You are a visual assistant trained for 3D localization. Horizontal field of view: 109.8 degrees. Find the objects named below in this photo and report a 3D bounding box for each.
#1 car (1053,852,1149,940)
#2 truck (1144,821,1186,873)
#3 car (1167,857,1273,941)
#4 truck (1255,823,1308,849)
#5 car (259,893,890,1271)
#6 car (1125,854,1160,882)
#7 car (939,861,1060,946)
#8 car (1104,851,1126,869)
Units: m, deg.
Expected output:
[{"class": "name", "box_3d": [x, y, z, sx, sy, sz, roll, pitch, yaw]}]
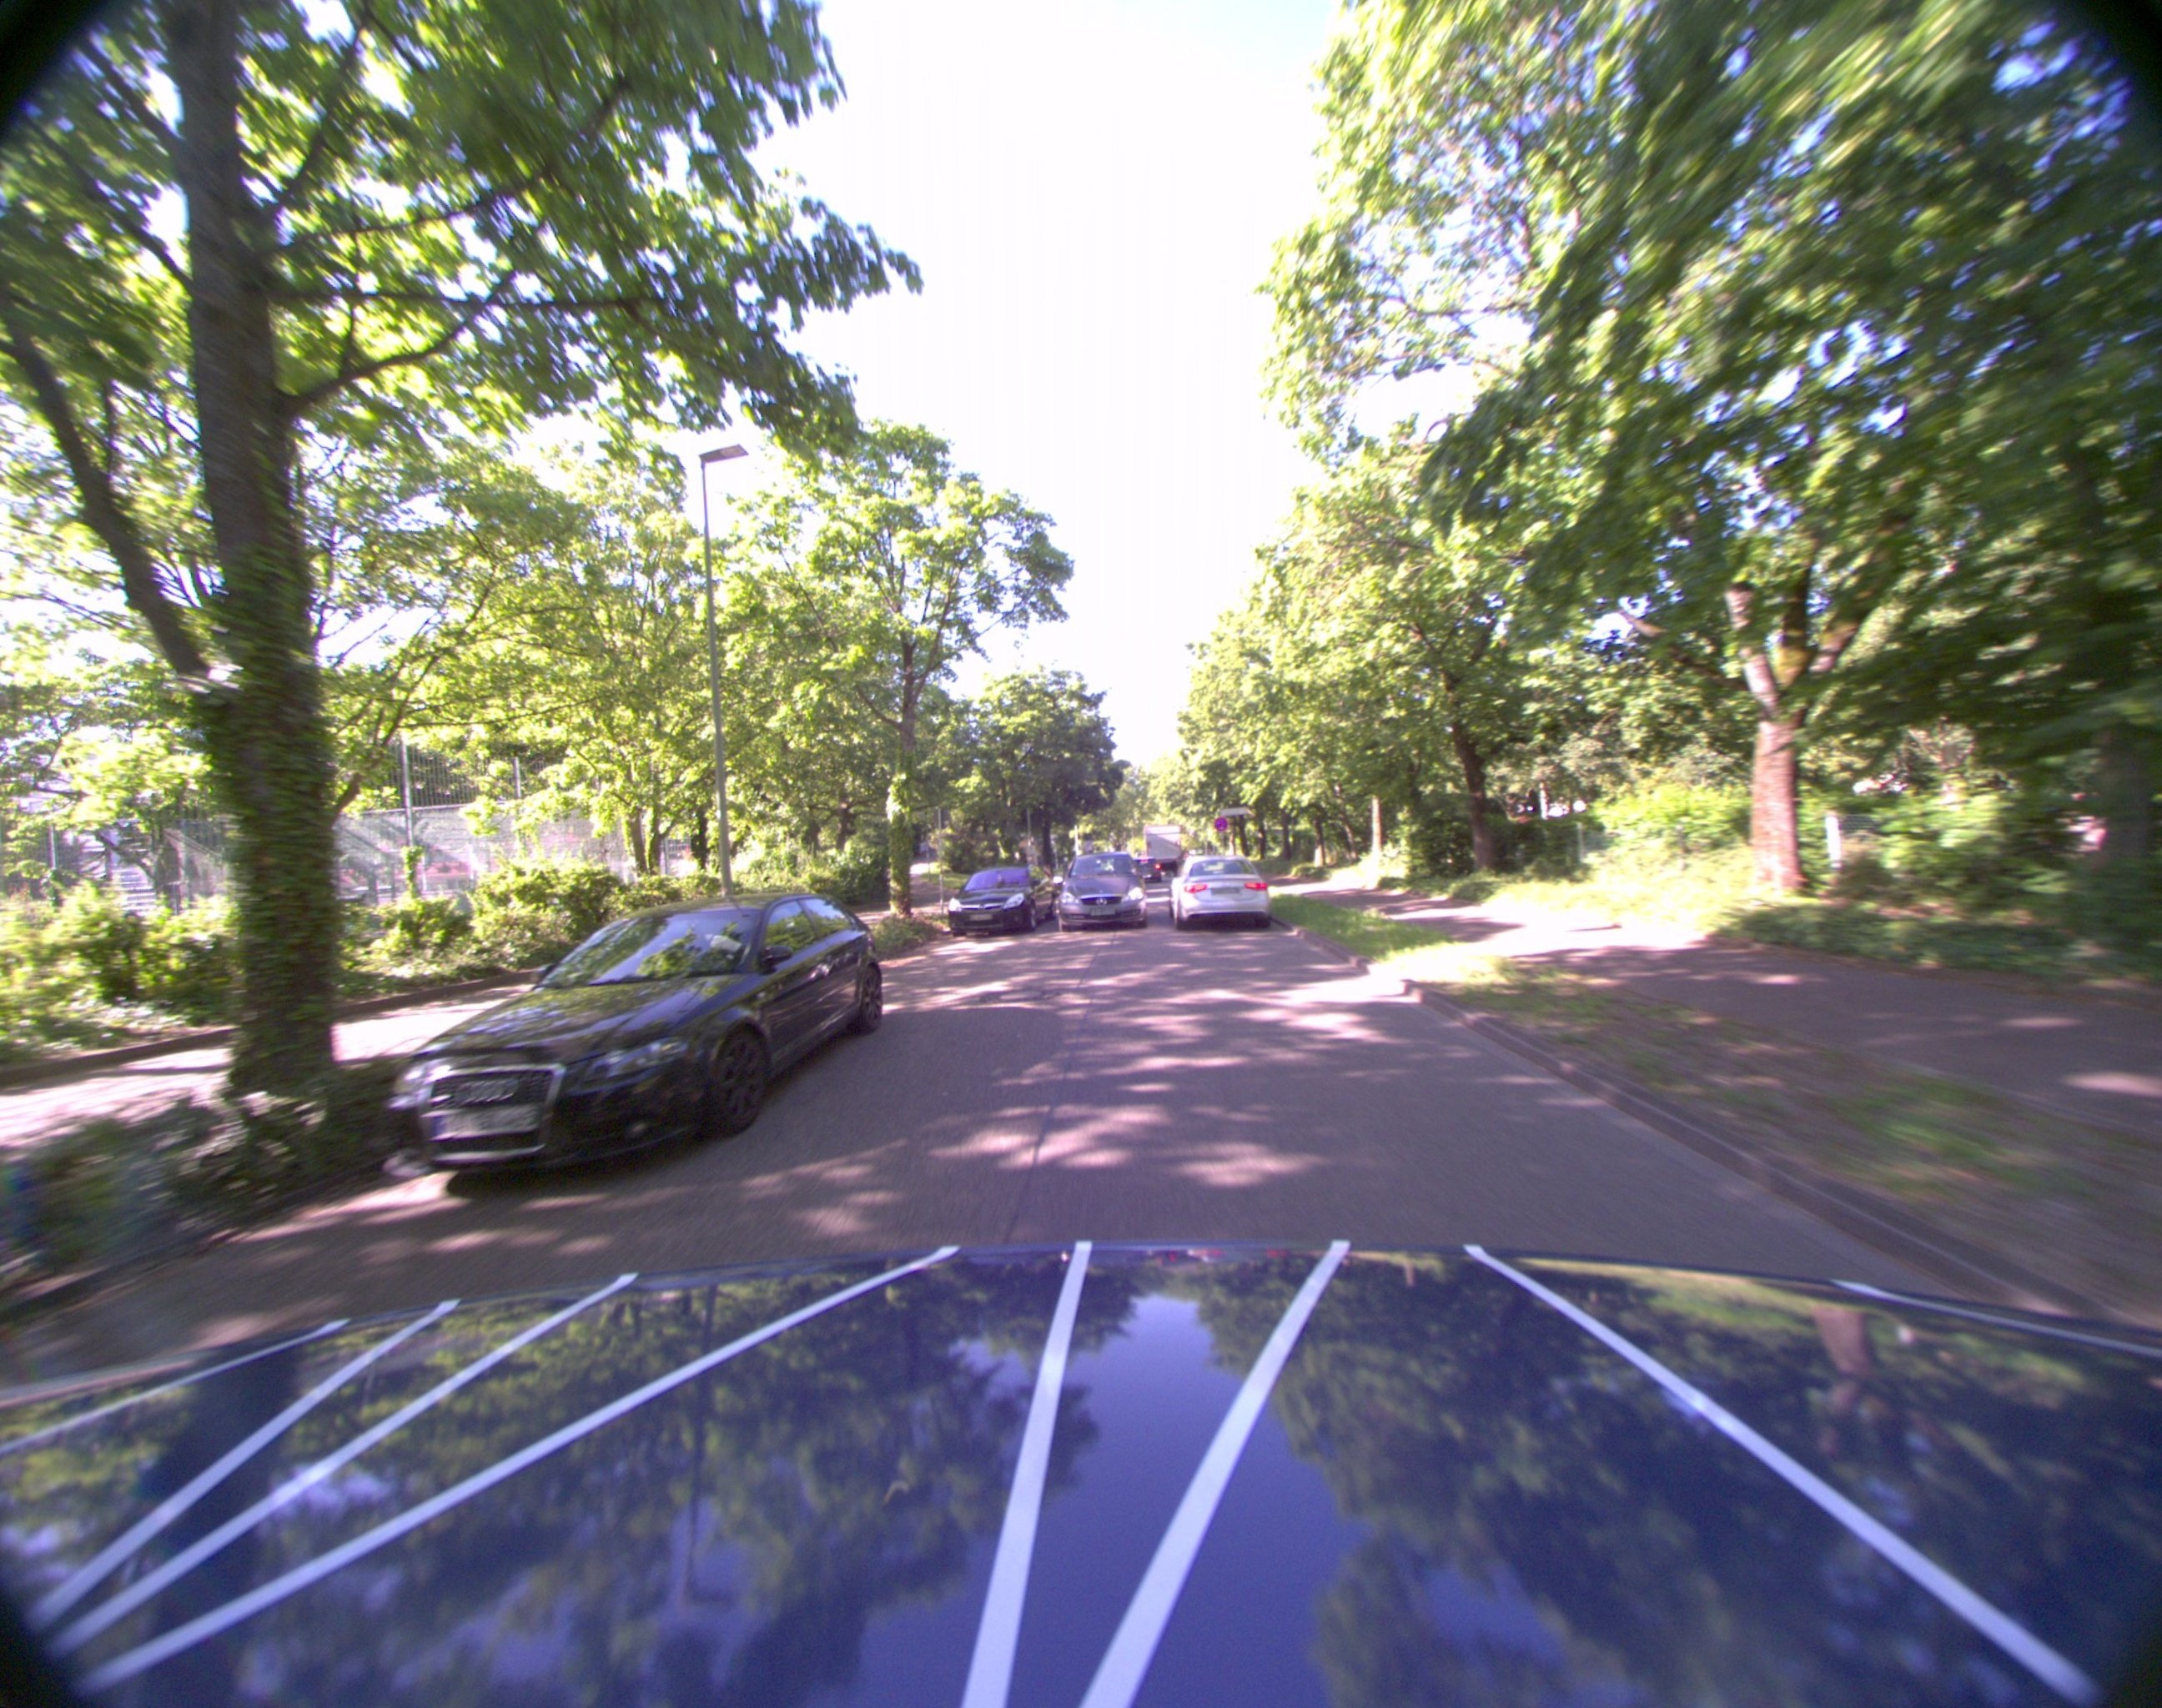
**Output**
[{"class": "car", "box_3d": [0.489, 0.805, 16.560, 1.734, 1.578, 4.001, -4, 0, 3]}, {"class": "truck", "box_3d": [6.431, -0.509, 59.137, 2.740, 3.620, 8.103, -4, 0, 4]}, {"class": "car", "box_3d": [2.688, 0.803, 15.494, 1.790, 1.408, 4.106, -2, 0, 6]}, {"class": "truck", "box_3d": [17.304, -1.506, 65.637, 3.996, 2.002, 2.204, -2, 0, 3]}, {"class": "car", "box_3d": [-2.819, 1.148, 5.458, 1.644, 1.412, 4.000, -4, 0, 2]}, {"class": "car", "box_3d": [3.435, 0.741, 43.029, 1.759, 1.445, 4.244, -2, 0, 3]}, {"class": "car", "box_3d": [-1.684, 1.011, 17.100, 1.752, 1.472, 4.032, -4, 1, 7]}, {"class": "car", "box_3d": [2.827, 0.489, 62.537, 1.604, 1.418, 3.653, -2, 0, 4]}]
